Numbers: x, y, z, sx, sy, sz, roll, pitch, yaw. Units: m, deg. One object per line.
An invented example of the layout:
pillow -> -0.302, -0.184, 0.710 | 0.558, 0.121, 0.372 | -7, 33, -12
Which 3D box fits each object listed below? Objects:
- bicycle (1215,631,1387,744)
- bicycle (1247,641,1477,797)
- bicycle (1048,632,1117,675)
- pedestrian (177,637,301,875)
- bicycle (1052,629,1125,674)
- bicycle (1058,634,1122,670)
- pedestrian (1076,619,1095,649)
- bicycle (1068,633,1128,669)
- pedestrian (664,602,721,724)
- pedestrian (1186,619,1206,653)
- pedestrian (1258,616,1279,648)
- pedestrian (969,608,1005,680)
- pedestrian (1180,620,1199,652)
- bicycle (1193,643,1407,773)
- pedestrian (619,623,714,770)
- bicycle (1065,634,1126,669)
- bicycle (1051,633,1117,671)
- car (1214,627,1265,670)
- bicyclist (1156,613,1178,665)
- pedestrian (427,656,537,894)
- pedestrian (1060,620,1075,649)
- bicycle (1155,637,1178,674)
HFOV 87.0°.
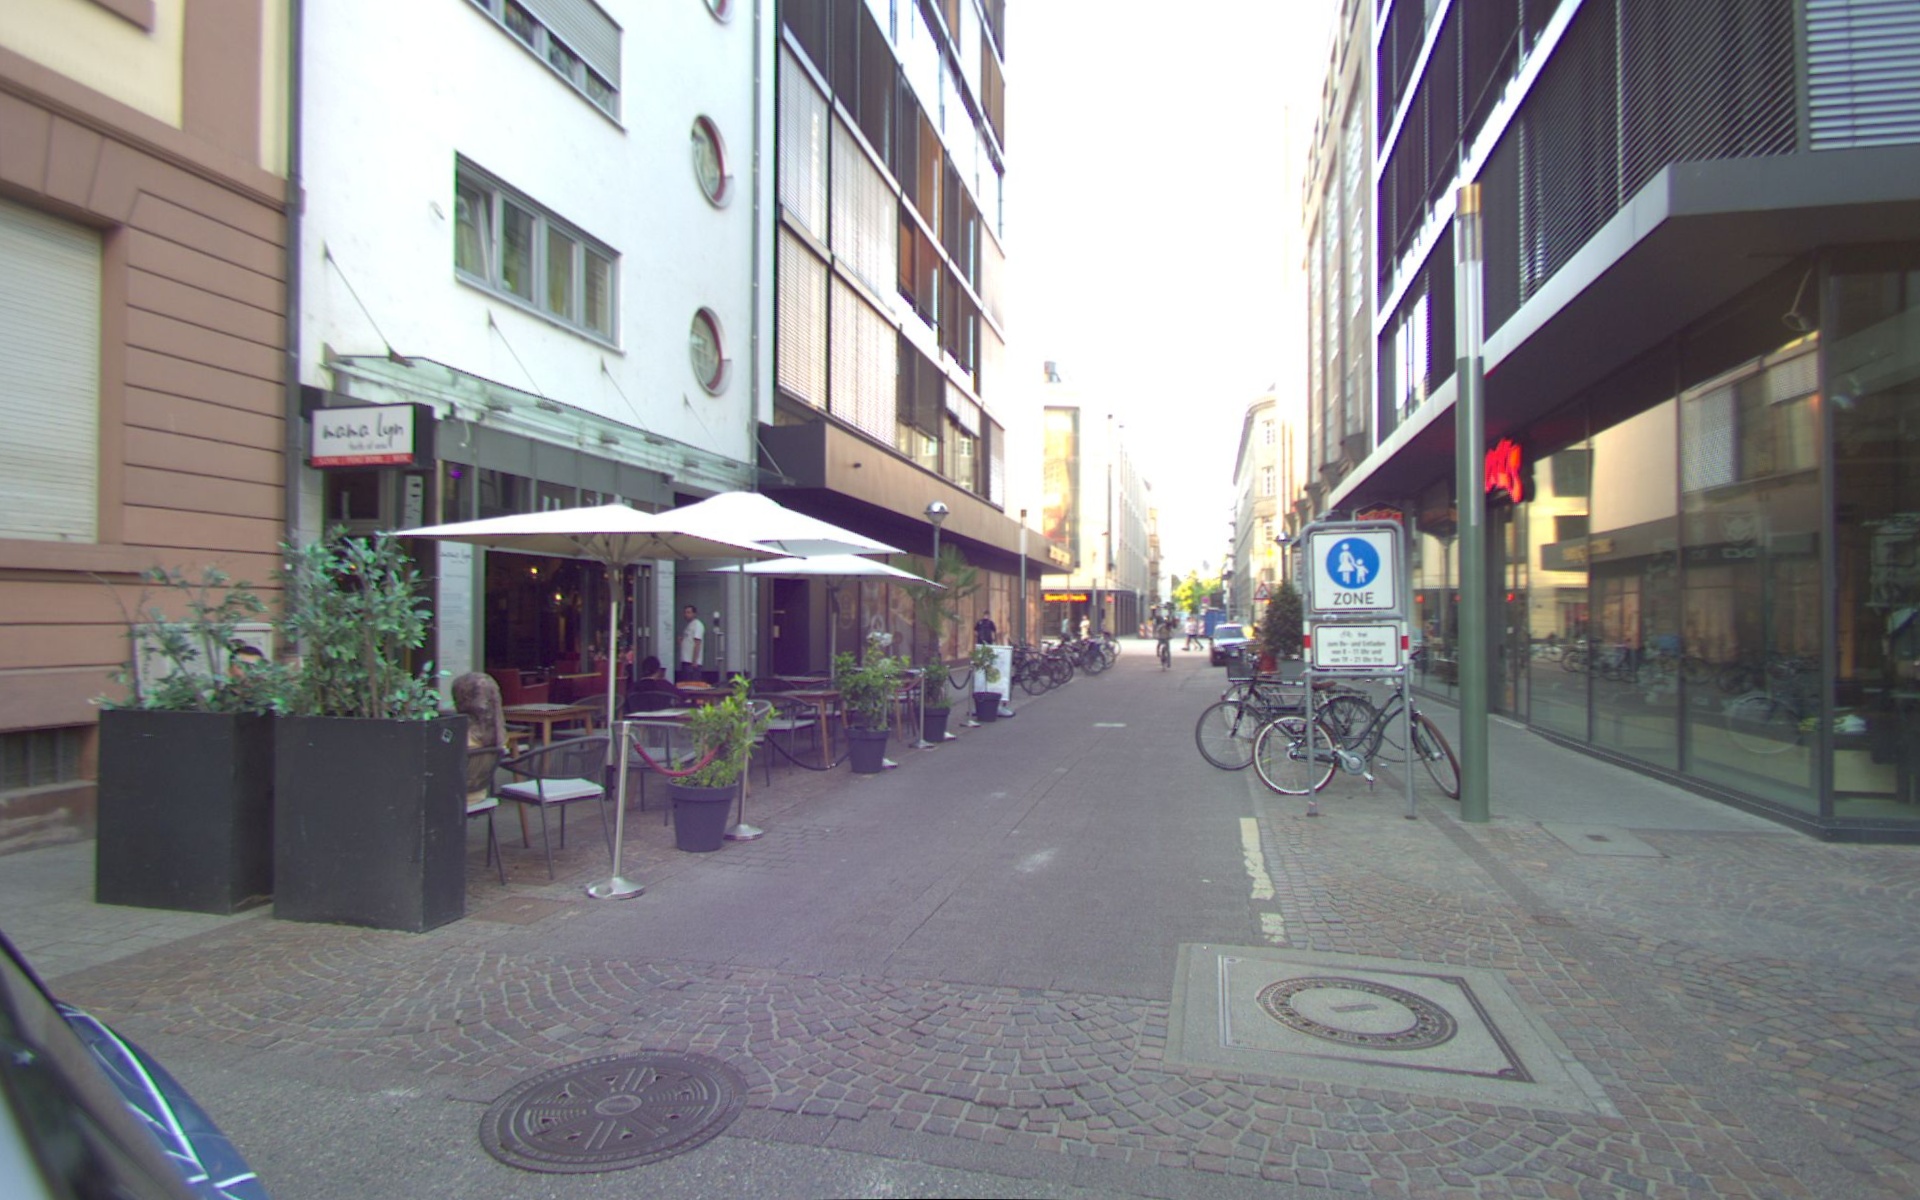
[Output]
bicycle -> 4.153, 1.077, 12.450 | 1.886, 1.279, 0.536 | -4, -2, 15
bicycle -> 3.273, 0.976, 8.367 | 1.655, 1.214, 0.507 | -3, -2, 14
bicycle -> 3.754, 1.635, 31.026 | 2.020, 1.176, 0.616 | 2, -1, 14
pedestrian -> -4.188, 0.878, 5.902 | 0.357, 1.316, 0.495 | 0, -2, 0
bicycle -> 3.749, 1.492, 29.588 | 2.020, 1.176, 0.663 | 2, -1, 14
bicycle -> 4.292, 1.706, 33.385 | 2.020, 1.176, 0.616 | -1, -1, 14
pedestrian -> 6.812, 1.838, 54.894 | 0.625, 1.633, 0.785 | 0, -1, -35
bicycle -> 4.824, 1.784, 35.444 | 2.020, 1.225, 0.616 | -1, -1, 14
pedestrian -> -4.004, 0.933, 15.176 | 0.633, 1.785, 0.600 | 0, -1, 9
pedestrian -> 11.682, 1.776, 50.166 | 0.770, 1.633, 0.637 | 0, -1, -13
pedestrian -> 16.078, 1.663, 52.725 | 0.657, 1.650, 0.768 | 0, -1, -29
pedestrian -> 0.706, 1.129, 26.347 | 0.797, 1.850, 0.671 | -1, -2, 16
pedestrian -> 11.521, 1.801, 50.846 | 0.770, 1.633, 0.637 | 0, -1, -9
bicycle -> 3.282, 1.058, 9.931 | 1.885, 1.190, 0.515 | -3, -4, 14
pedestrian -> -2.979, 0.948, 10.343 | 0.570, 1.431, 0.864 | -1, -1, 15
bicycle -> 4.669, 1.763, 34.795 | 2.020, 1.176, 0.616 | -1, -1, 14
bicycle -> 3.964, 1.660, 32.338 | 2.020, 1.176, 0.616 | -1, -1, 14
car -> 9.936, 1.688, 35.885 | 1.591, 1.434, 3.582 | -1, -1, 18
bicyclist -> 6.819, 1.292, 33.395 | 0.669, 1.683, 0.865 | -1, -2, 13
pedestrian -> -2.573, 0.921, 5.474 | 0.395, 1.223, 0.383 | 0, -2, 5
pedestrian -> 5.776, 1.866, 54.524 | 0.772, 1.536, 0.635 | 0, -1, 3
bicycle -> 6.806, 1.806, 33.317 | 0.693, 1.137, 1.996 | -1, -2, 13
